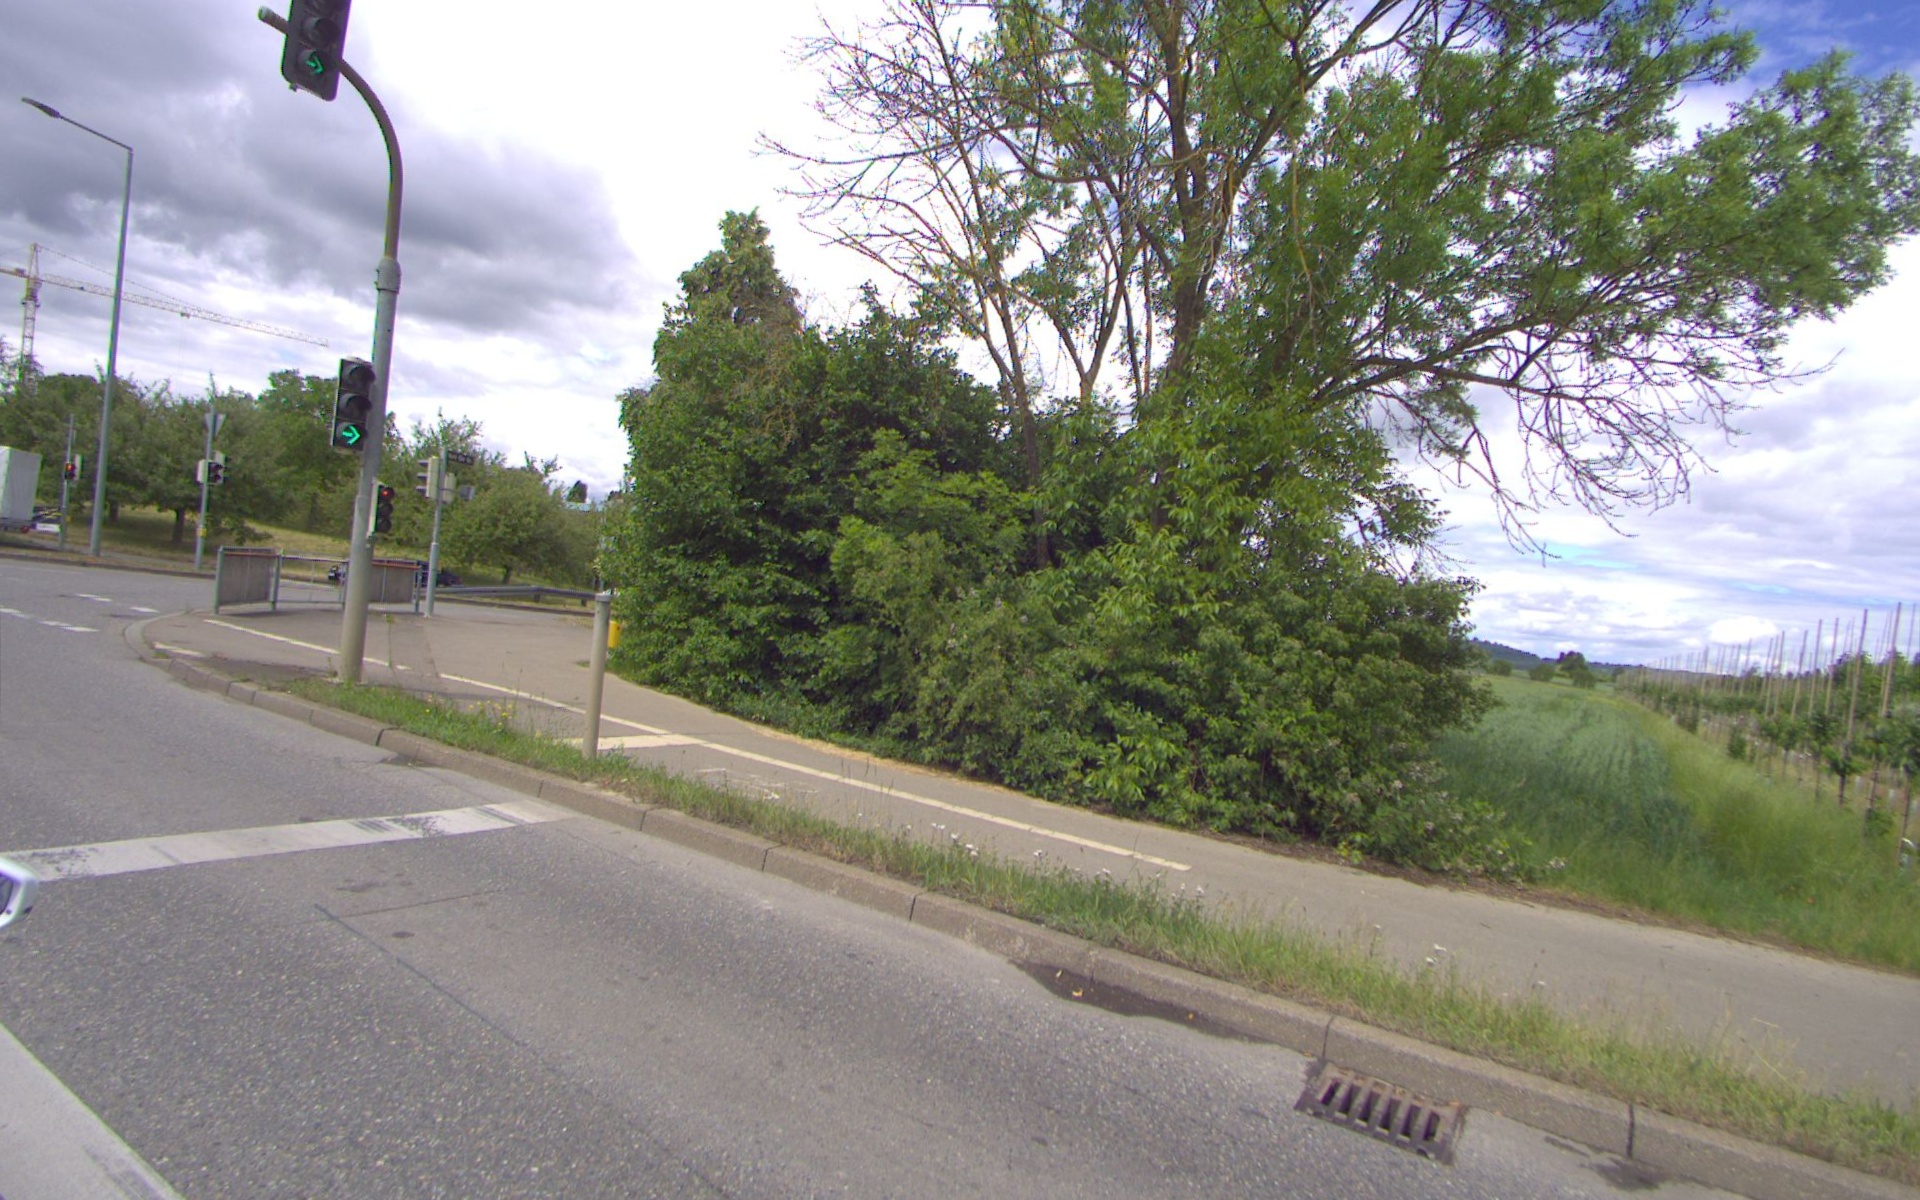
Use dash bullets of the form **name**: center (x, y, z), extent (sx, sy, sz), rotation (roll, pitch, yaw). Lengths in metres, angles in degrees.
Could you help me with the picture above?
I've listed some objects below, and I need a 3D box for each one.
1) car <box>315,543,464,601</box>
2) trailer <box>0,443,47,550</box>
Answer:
- **car**: center (-21.900, -1.052, 38.777), extent (1.969, 1.584, 4.458), rotation (7, -1, 36)
- **trailer**: center (-31.623, -3.498, 30.168), extent (5.520, 3.109, 2.484), rotation (8, -2, -26)
